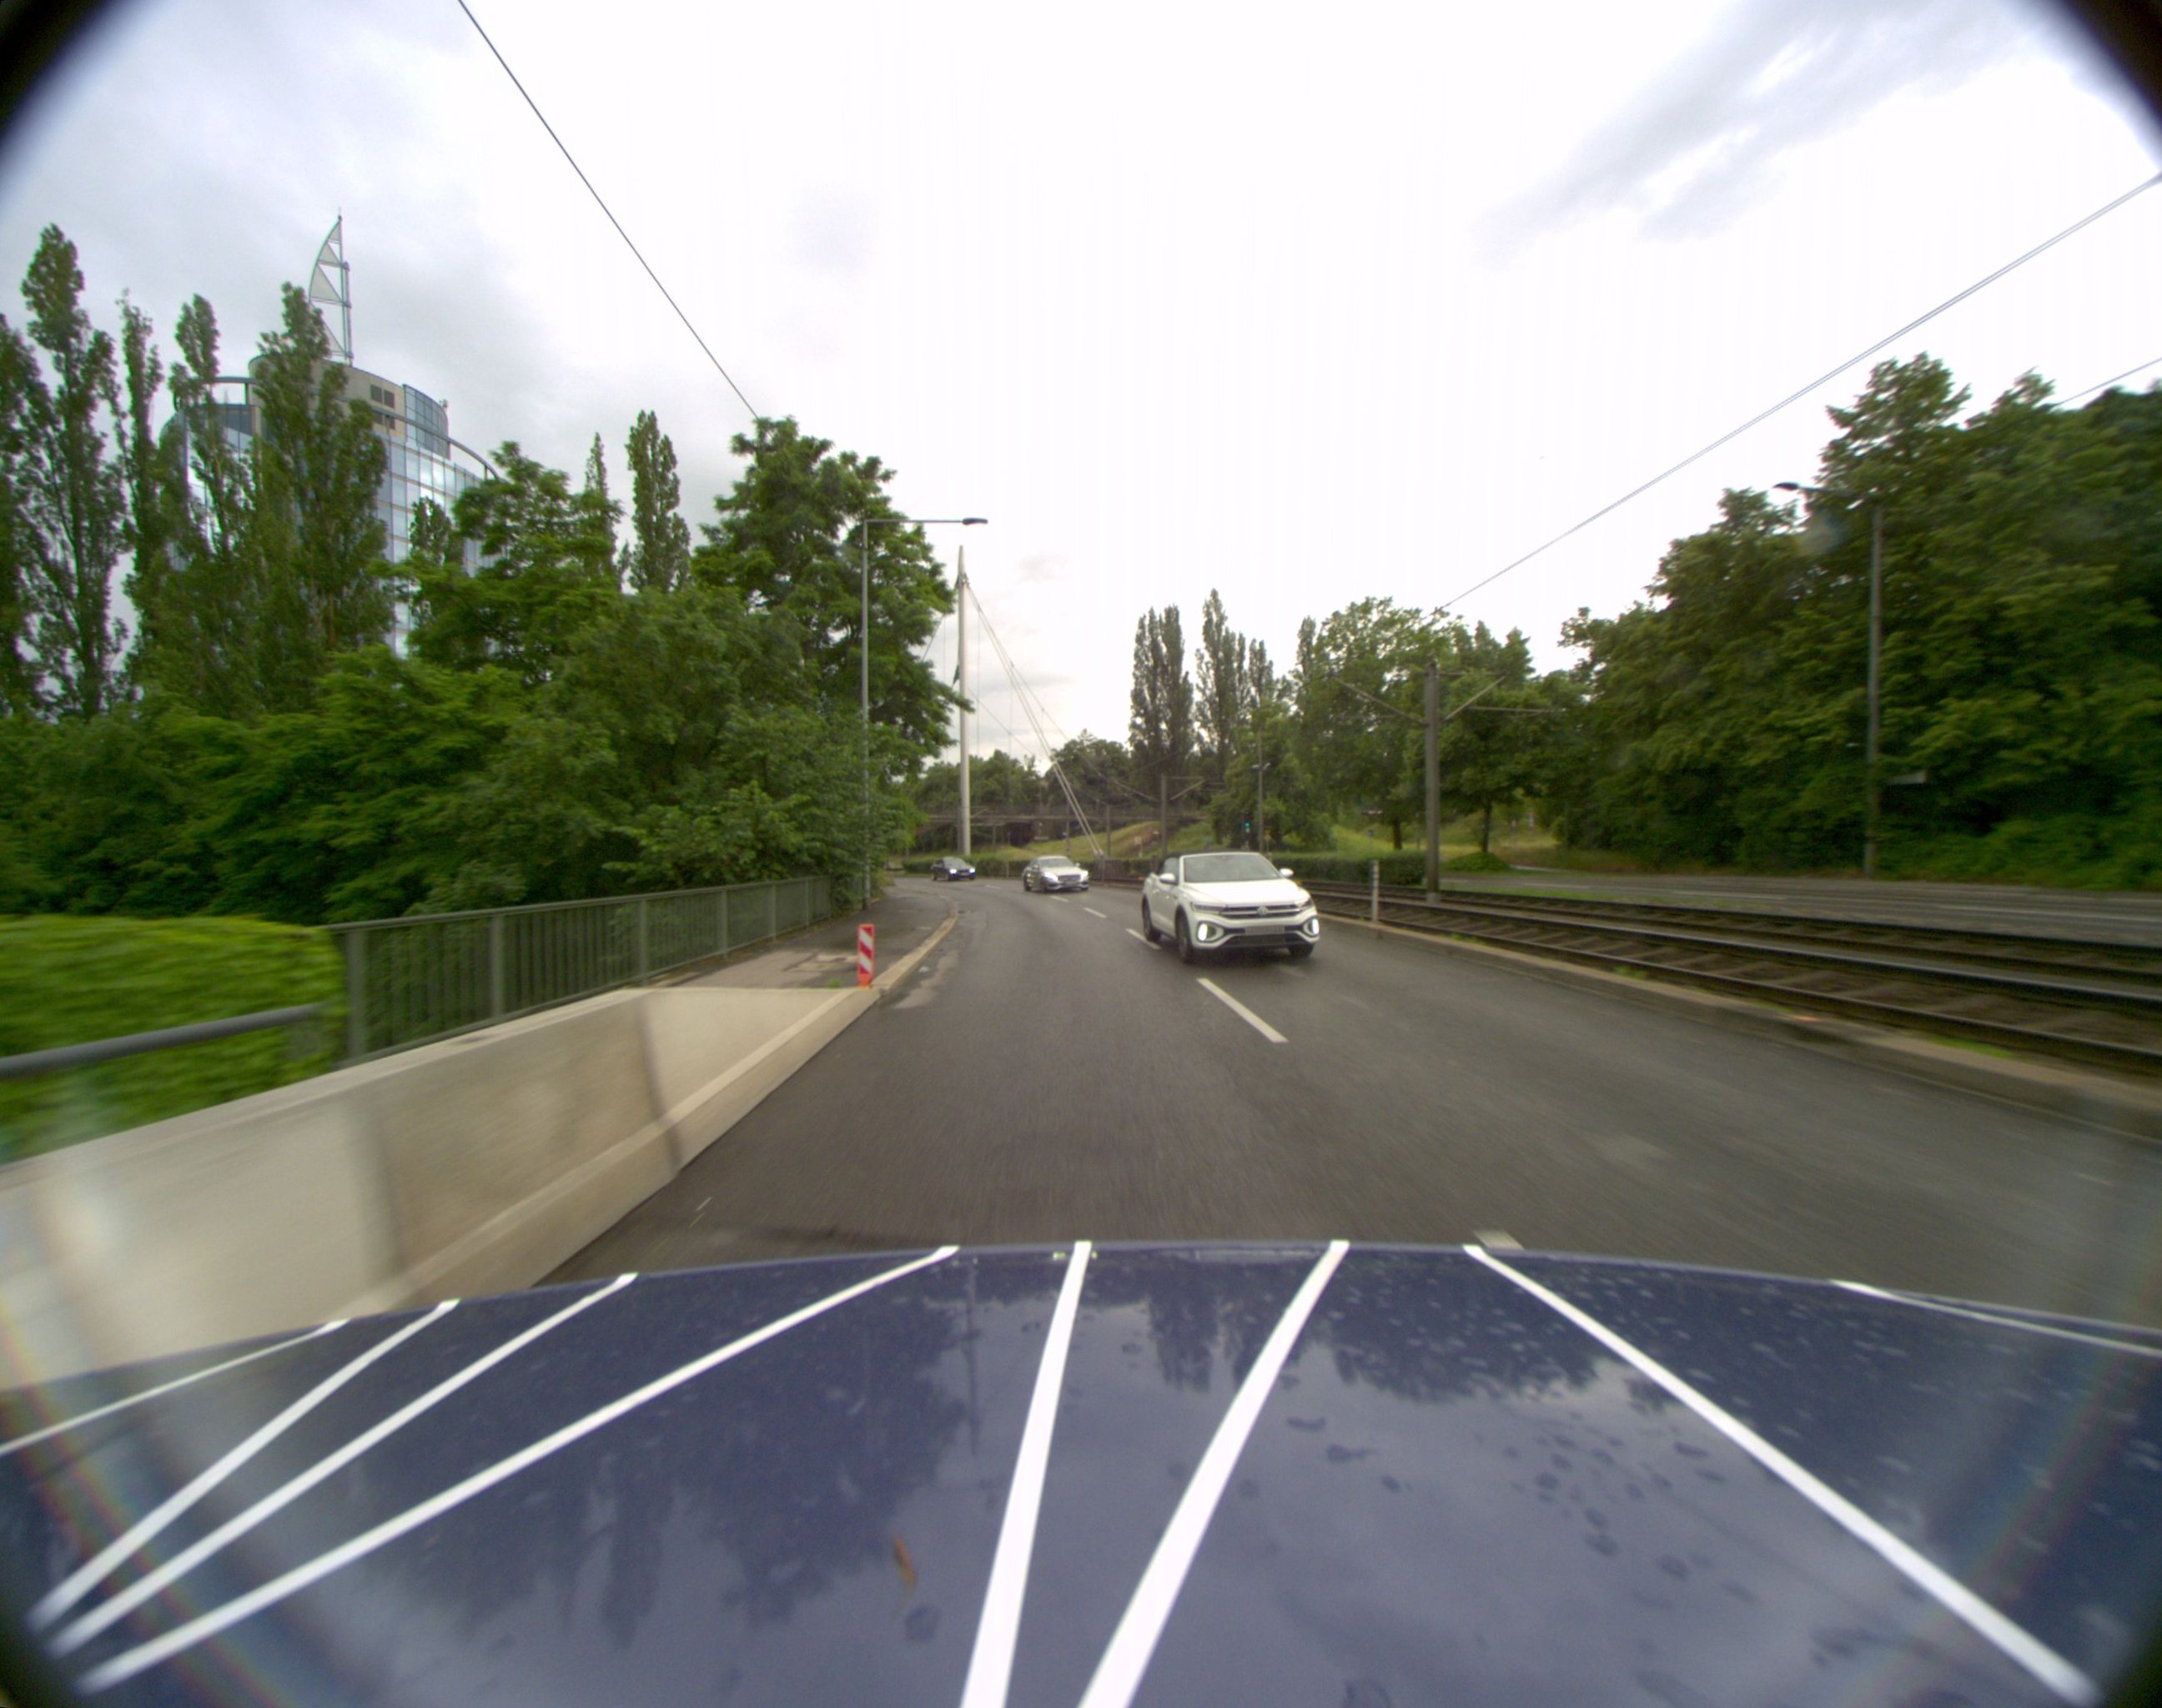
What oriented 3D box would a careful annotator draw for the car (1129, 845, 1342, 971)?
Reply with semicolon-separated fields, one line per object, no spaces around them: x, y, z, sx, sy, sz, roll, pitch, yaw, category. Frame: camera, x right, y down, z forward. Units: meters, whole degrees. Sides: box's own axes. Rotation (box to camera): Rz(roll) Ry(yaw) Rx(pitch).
2.080;0.677;11.698;1.877;1.515;4.537;-1;0;-6;car

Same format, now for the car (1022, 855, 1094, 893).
-1.012;0.750;30.837;1.874;1.348;4.054;-2;1;-17;car

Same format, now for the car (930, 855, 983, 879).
-7.757;0.783;47.187;1.740;1.344;3.989;-2;1;-34;car
